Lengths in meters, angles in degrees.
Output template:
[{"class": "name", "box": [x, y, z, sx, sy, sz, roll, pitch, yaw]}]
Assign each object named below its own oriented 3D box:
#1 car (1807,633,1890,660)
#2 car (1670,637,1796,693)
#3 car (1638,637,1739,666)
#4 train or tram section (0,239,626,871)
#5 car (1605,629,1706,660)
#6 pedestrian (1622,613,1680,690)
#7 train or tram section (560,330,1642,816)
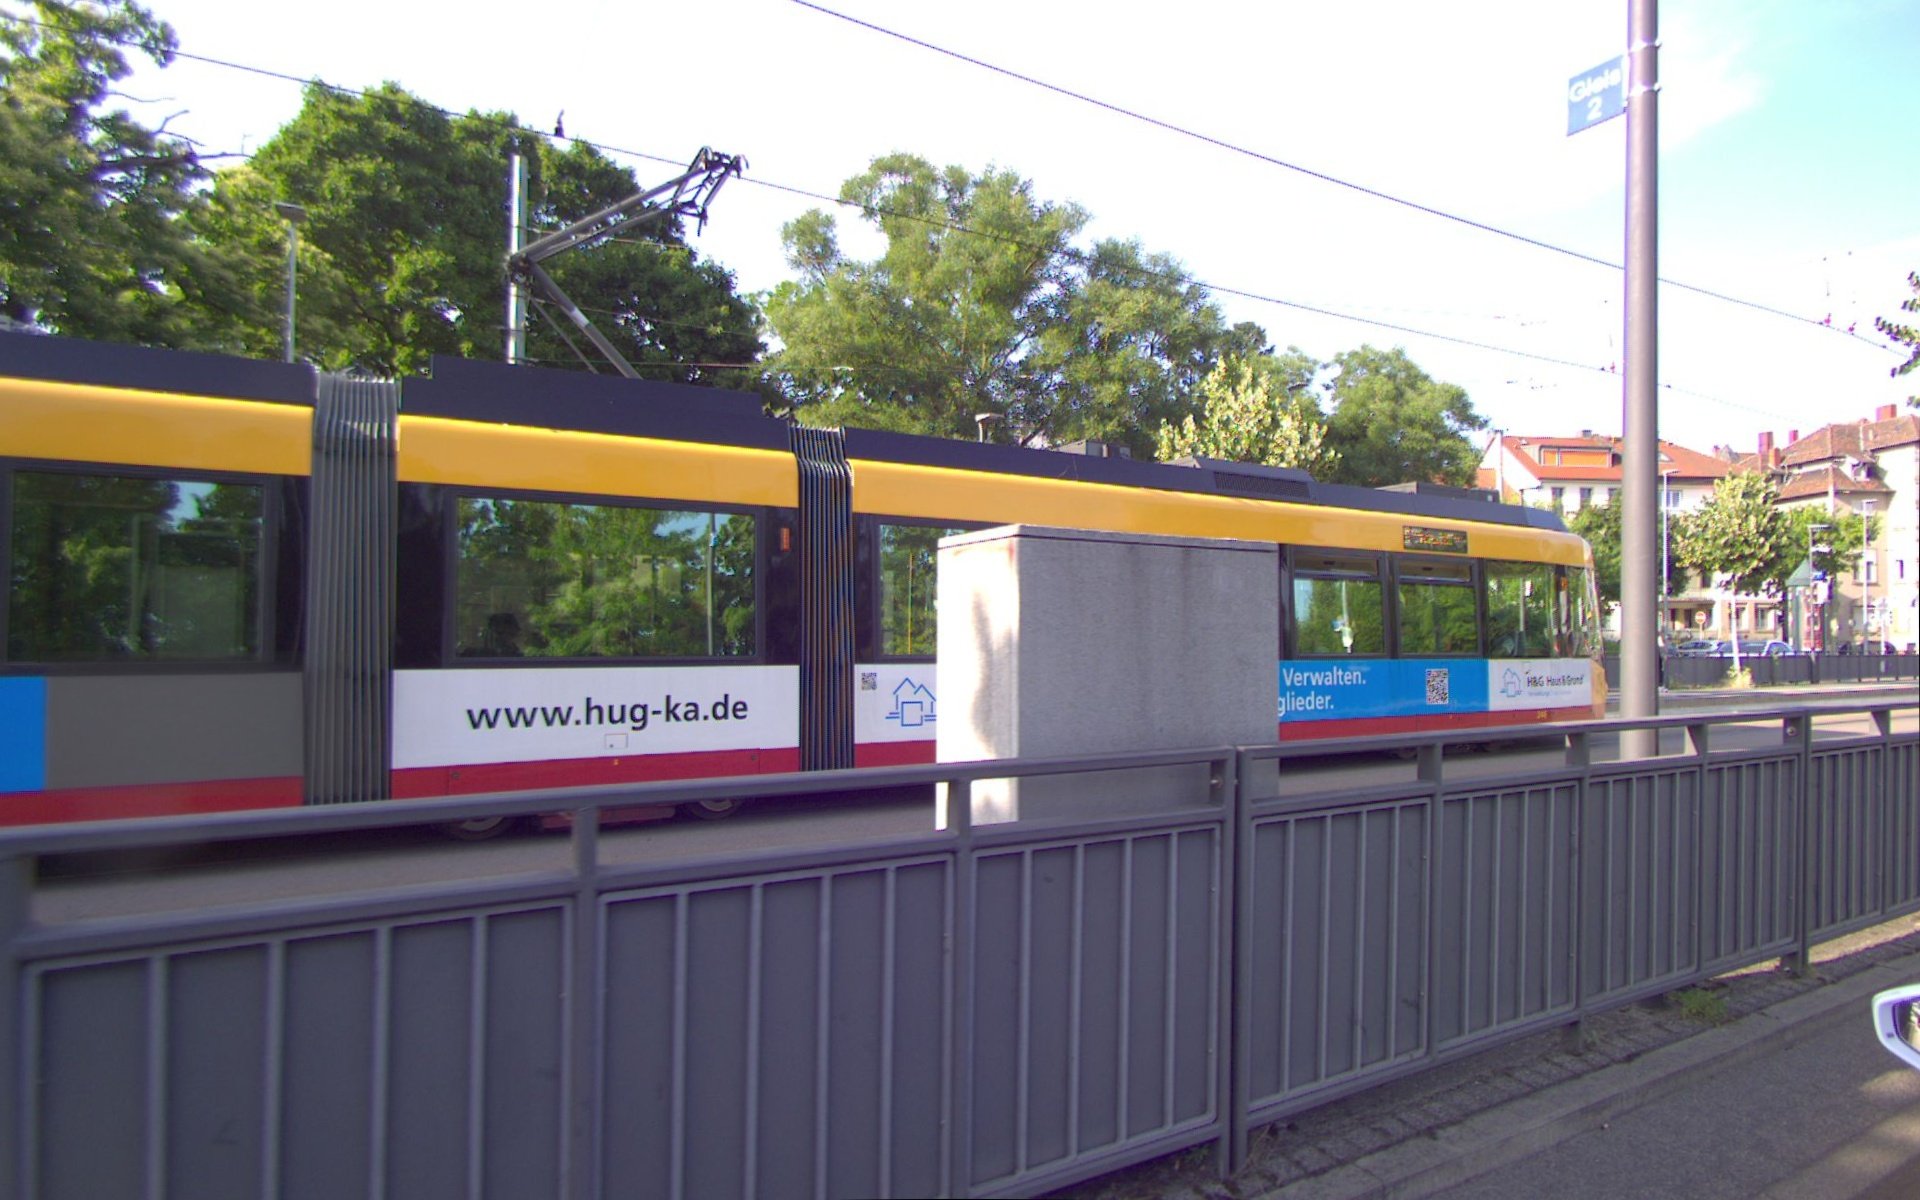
[{"class": "car", "box": [62.171, 3.239, 70.342, 1.965, 1.773, 3.992, 1, -1, -11]}, {"class": "car", "box": [25.571, 2.101, 33.210, 3.953, 1.706, 1.984, 1, -1, -30]}, {"class": "car", "box": [37.969, 2.652, 52.472, 1.966, 1.416, 3.989, 1, -1, -14]}, {"class": "train or tram section", "box": [-9.403, -0.290, 5.034, 14.362, 3.525, 3.147, 1, -1, -31]}, {"class": "car", "box": [35.613, 2.272, 51.558, 1.966, 1.416, 3.989, -2, -1, -14]}, {"class": "pedestrian", "box": [16.086, 1.195, 23.401, 0.763, 1.756, 0.832, 1, -2, -29]}, {"class": "train or tram section", "box": [2.957, -0.064, 12.293, 14.302, 3.525, 3.147, 1, -1, -31]}]
